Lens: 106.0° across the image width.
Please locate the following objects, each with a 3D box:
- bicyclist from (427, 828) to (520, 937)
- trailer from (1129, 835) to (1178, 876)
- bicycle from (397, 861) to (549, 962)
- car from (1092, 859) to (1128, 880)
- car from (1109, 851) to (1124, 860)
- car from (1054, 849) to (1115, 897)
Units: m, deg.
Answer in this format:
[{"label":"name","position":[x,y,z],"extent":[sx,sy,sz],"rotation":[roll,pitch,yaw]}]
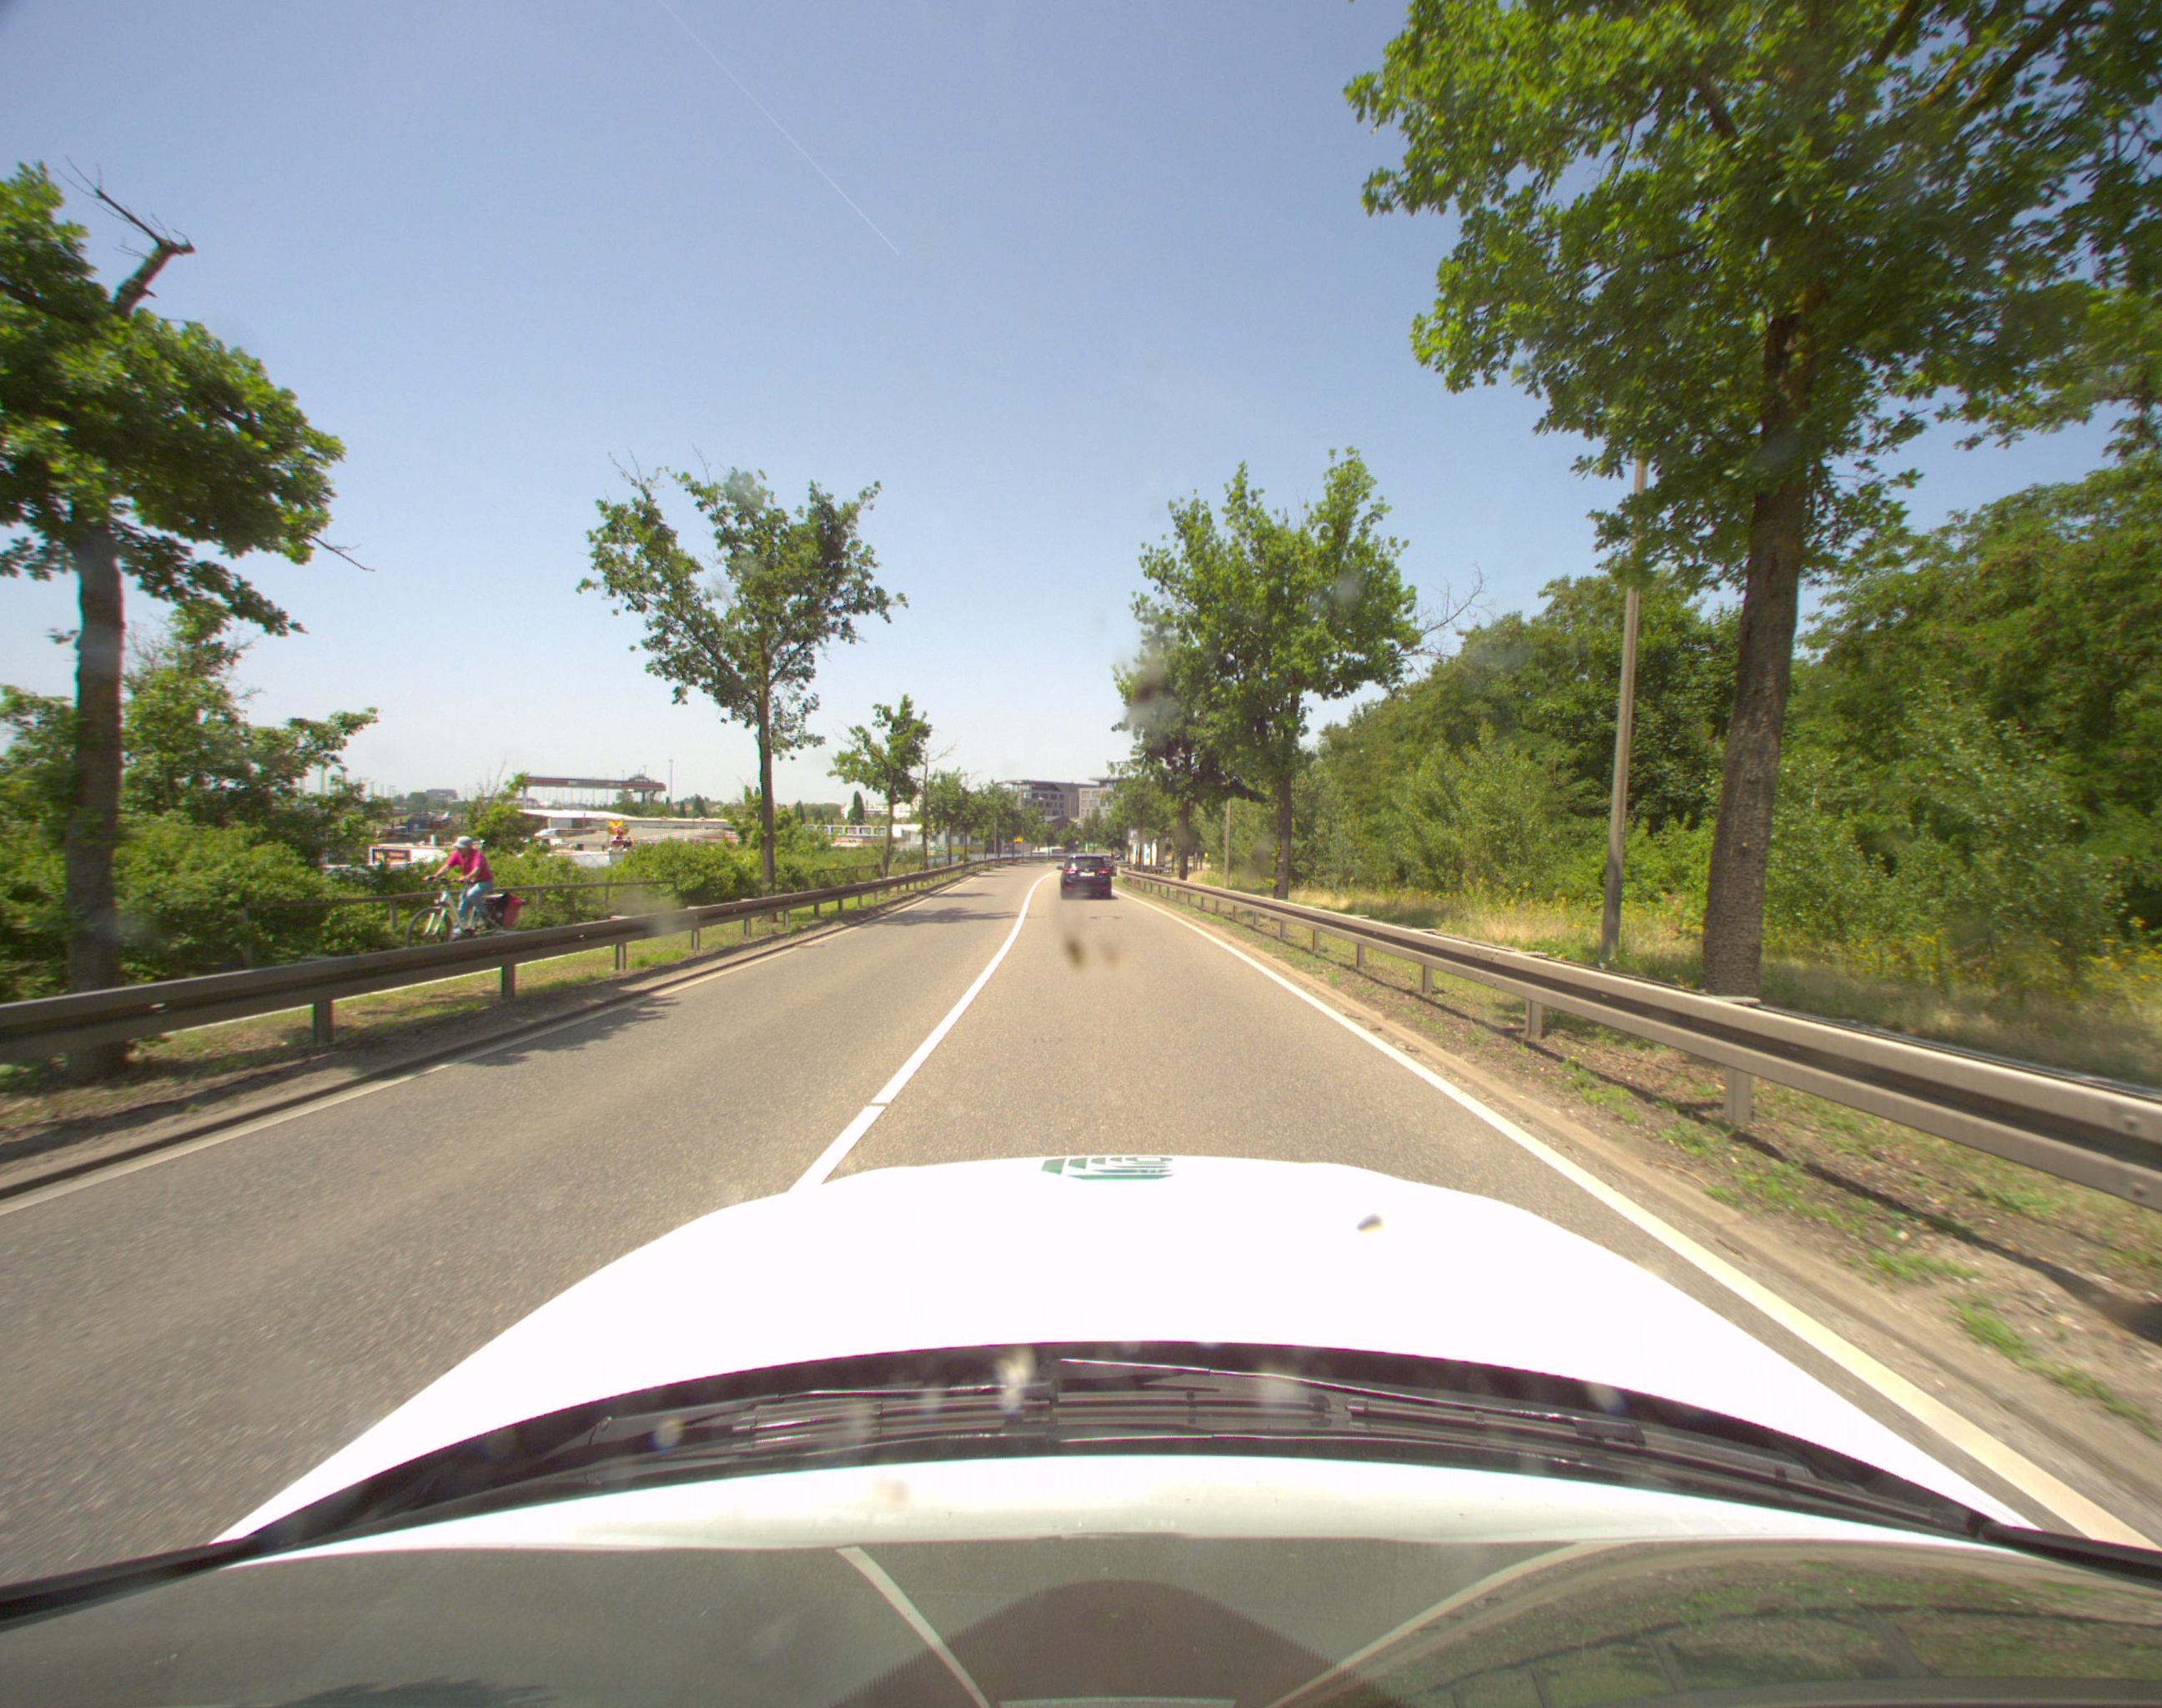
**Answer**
[{"label":"bicyclist","position":[-8.578,0.394,11.530],"extent":[0.740,1.489,0.755],"rotation":[0,0,-5]},{"label":"trailer","position":[8.648,0.016,94.886],"extent":[3.056,4.368,14.834],"rotation":[2,1,15]},{"label":"bicycle","position":[-8.543,0.753,11.570],"extent":[0.733,1.281,2.043],"rotation":[0,0,-5]},{"label":"car","position":[2.461,1.248,67.827],"extent":[1.942,1.633,4.298],"rotation":[1,0,16]},{"label":"car","position":[6.872,0.313,155.836],"extent":[1.793,1.759,4.269],"rotation":[2,0,16]},{"label":"car","position":[0.056,0.635,29.638],"extent":[1.765,1.599,4.069],"rotation":[2,0,-6]}]
